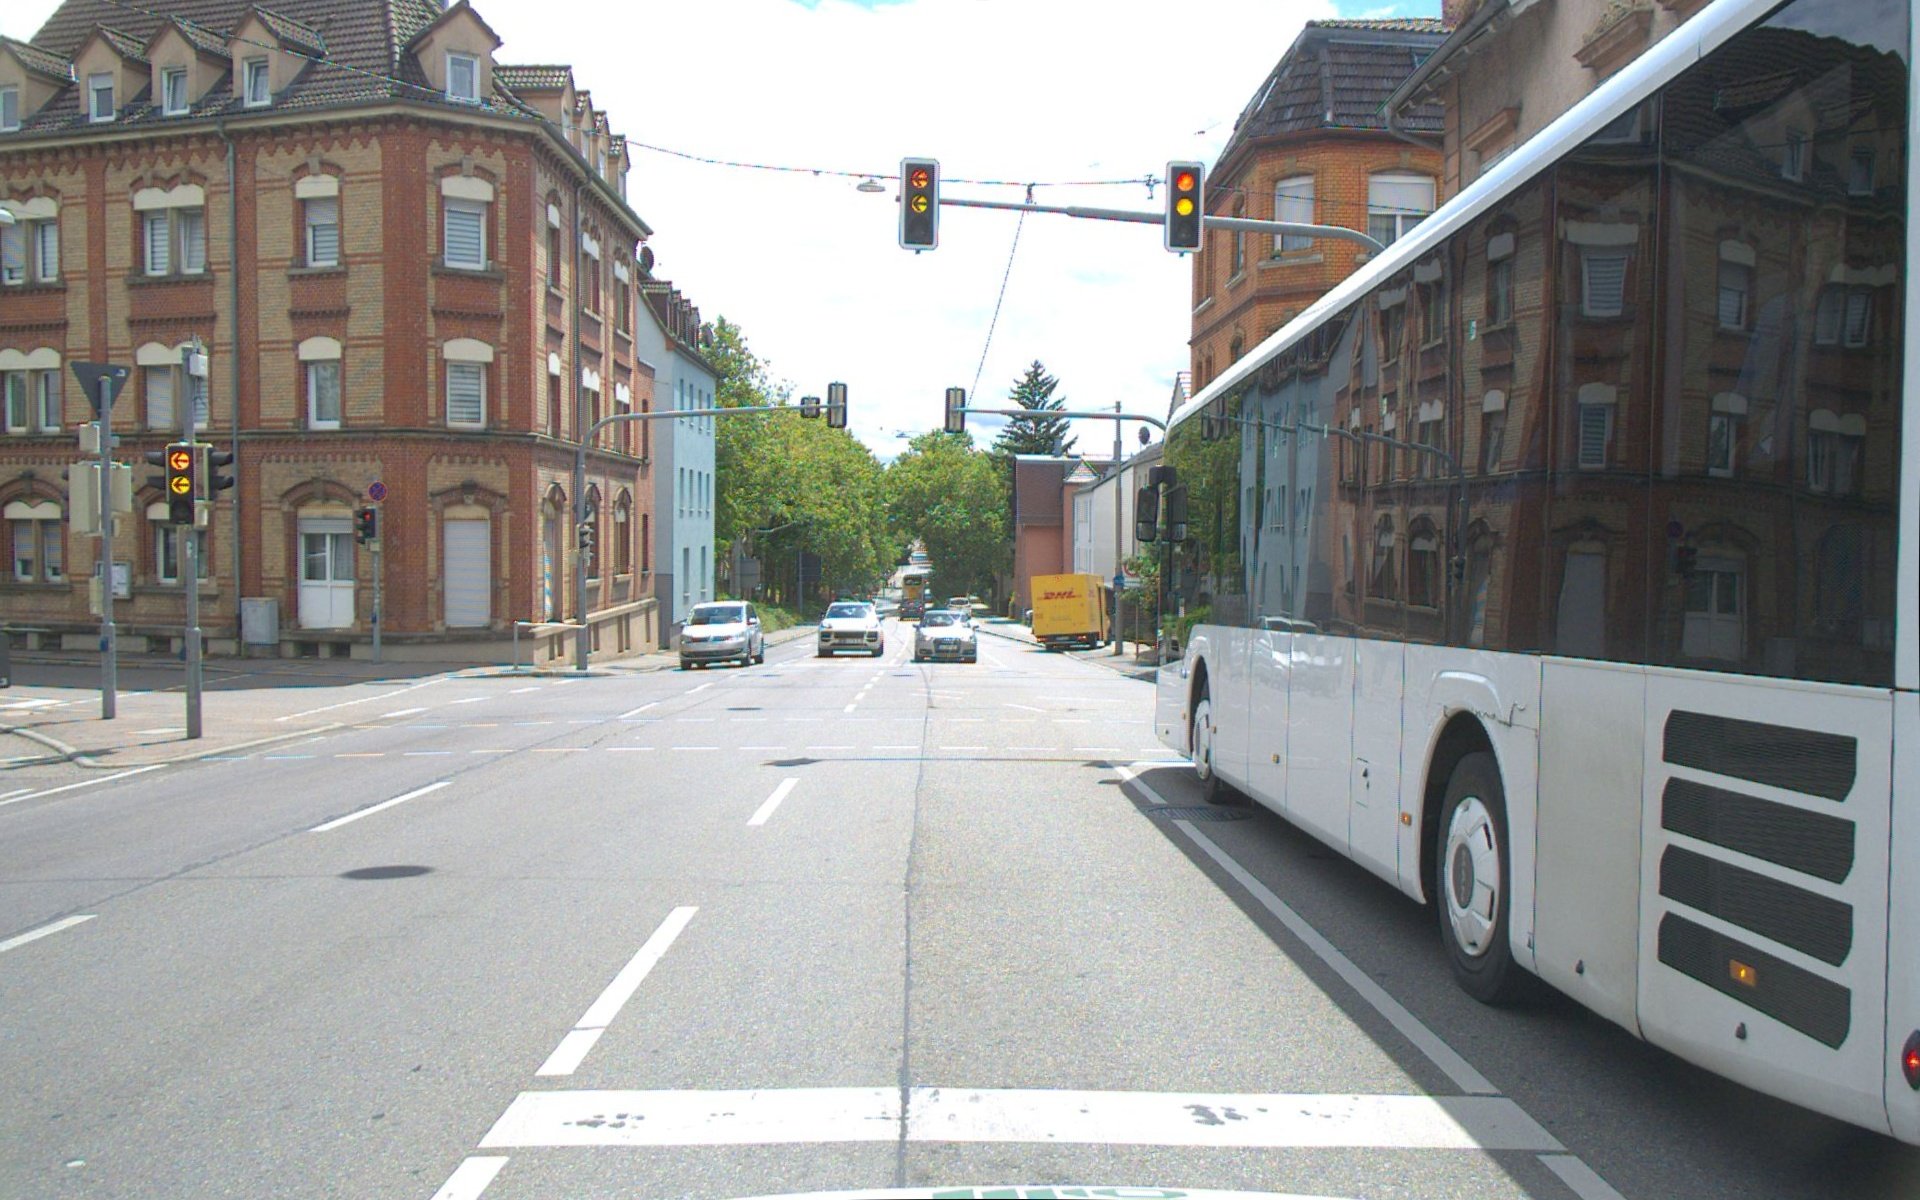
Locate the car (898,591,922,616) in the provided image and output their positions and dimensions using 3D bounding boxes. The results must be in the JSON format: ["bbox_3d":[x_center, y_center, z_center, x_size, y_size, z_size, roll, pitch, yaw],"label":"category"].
[{"bbox_3d":[-3.819,0.256,126.542,1.782,1.816,3.999,0,0,-1],"label":"car"}]

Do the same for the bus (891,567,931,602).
[{"bbox_3d":[-5.526,-1.662,183.455,3.238,3.694,11.224,-1,0,-8],"label":"bus"}]

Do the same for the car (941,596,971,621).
[{"bbox_3d":[-0.307,0.658,129.393,2.050,1.862,4.139,0,0,-4],"label":"car"}]

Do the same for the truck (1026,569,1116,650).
[{"bbox_3d":[4.457,0.375,65.244,2.487,2.964,6.577,1,0,13],"label":"truck"}]

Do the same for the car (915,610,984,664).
[{"bbox_3d":[-0.310,1.009,46.632,1.827,1.391,4.546,0,0,-1],"label":"car"}]

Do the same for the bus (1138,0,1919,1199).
[{"bbox_3d":[3.218,-0.139,9.351,2.845,3.571,12.484,1,0,-1],"label":"bus"}]

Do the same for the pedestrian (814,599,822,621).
[{"bbox_3d":[-11.699,0.829,136.270,0.594,1.789,0.653,0,0,-2],"label":"pedestrian"}]

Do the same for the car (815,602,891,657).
[{"bbox_3d":[-3.315,0.896,52.203,2.162,1.641,4.546,0,0,-1],"label":"car"}]

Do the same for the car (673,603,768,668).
[{"bbox_3d":[-6.188,0.885,43.217,1.896,1.591,4.388,0,0,-1],"label":"car"}]
